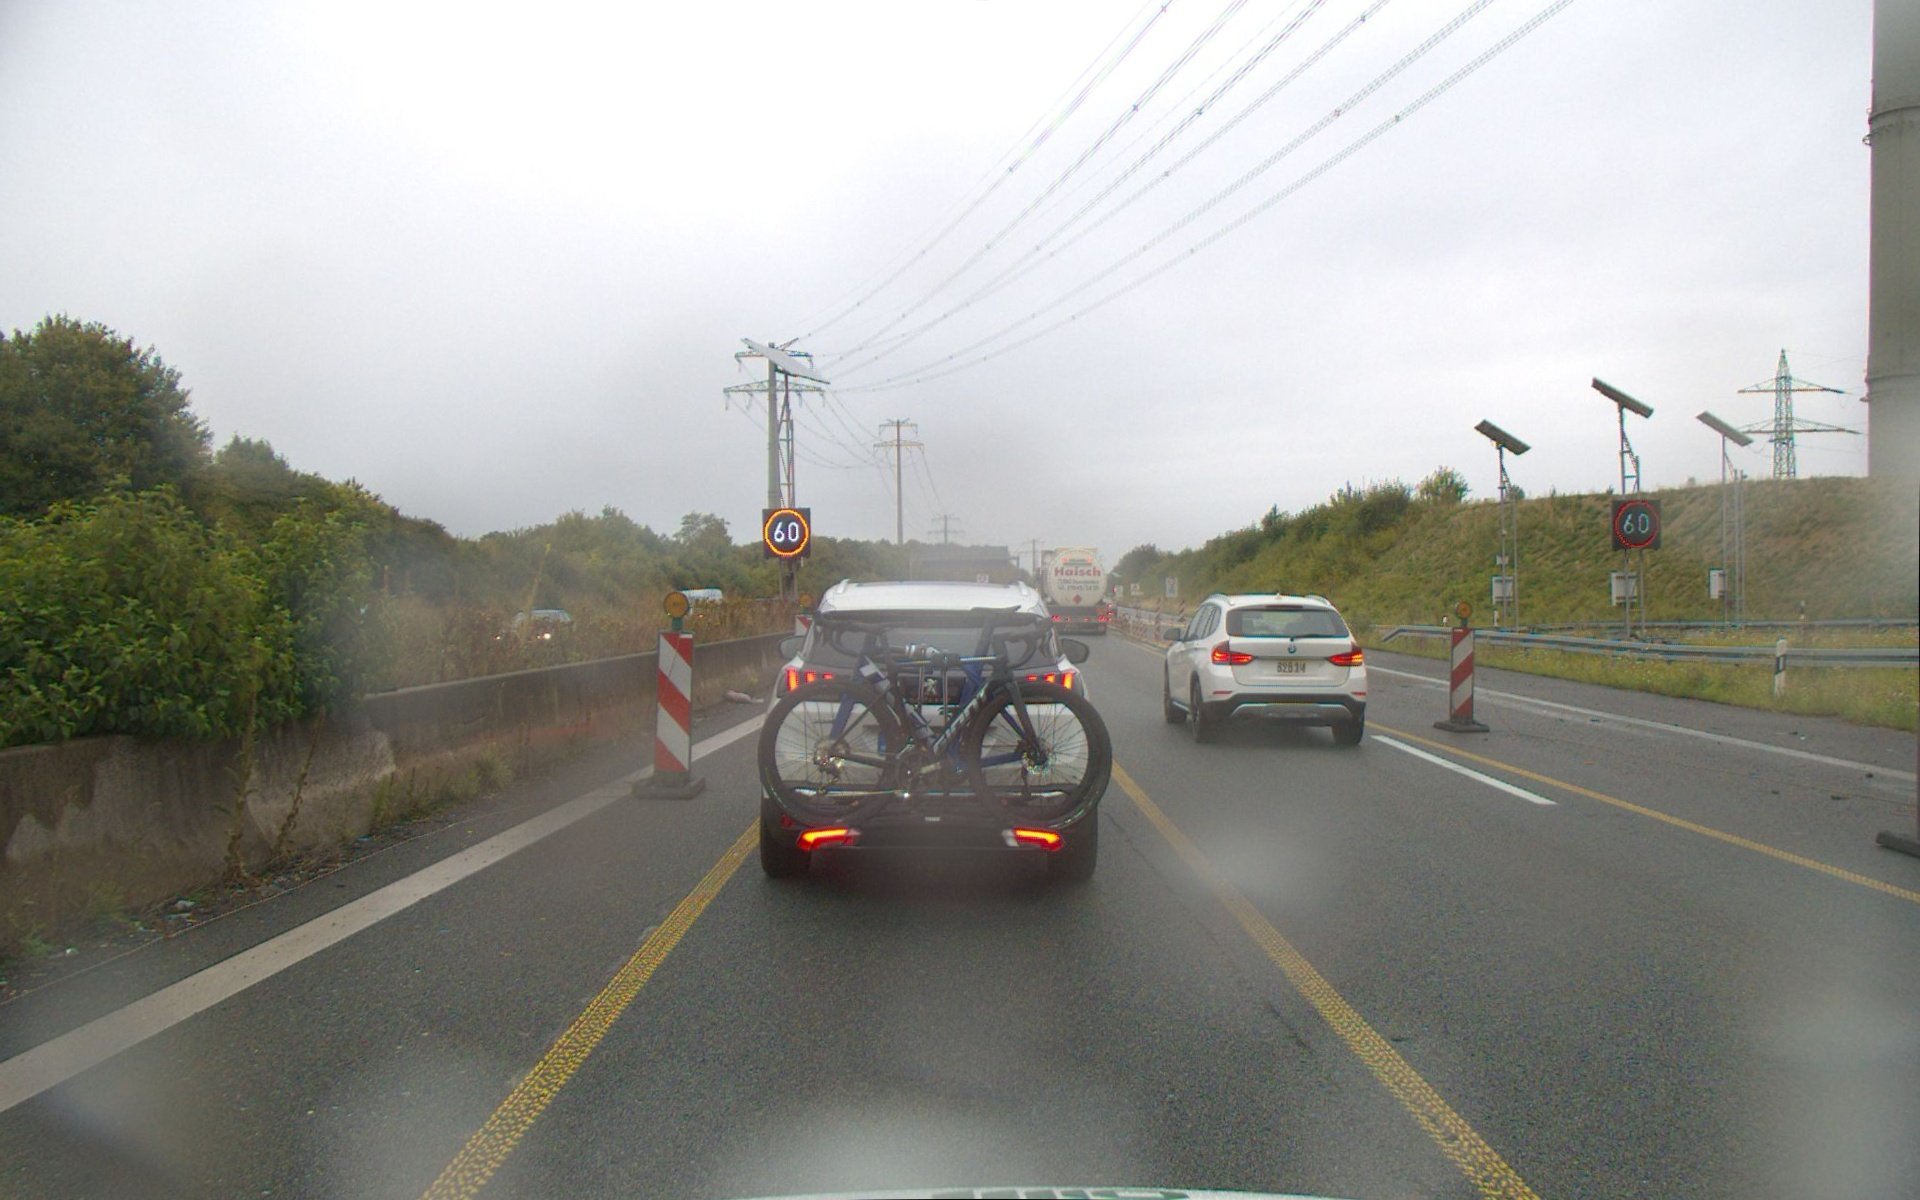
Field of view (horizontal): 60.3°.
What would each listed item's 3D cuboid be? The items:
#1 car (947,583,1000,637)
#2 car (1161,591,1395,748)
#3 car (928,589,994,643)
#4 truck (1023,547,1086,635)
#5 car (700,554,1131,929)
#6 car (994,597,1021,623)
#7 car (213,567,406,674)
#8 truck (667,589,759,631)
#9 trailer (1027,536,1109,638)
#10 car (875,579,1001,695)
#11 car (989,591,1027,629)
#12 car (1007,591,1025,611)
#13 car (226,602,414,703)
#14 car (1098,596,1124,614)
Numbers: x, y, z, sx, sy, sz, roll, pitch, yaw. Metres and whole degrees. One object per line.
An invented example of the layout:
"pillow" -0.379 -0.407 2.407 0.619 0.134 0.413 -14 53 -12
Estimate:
"car" 0.507 0.379 65.898 1.953 2.049 3.999 -1 0 -1
"car" 3.406 0.685 18.481 1.831 1.561 4.197 0 0 0
"car" 0.006 0.458 51.491 1.953 1.611 3.999 0 0 -1
"truck" 4.356 -0.394 76.676 2.591 3.959 4.029 1 -1 -1
"car" -0.137 0.616 9.592 1.888 1.639 4.596 0 0 1
"car" 3.813 0.827 132.915 1.953 2.049 3.999 1 -1 -1
"car" -11.935 0.370 30.641 1.953 1.833 4.000 1 -1 0
"truck" -15.592 0.611 104.779 1.959 2.470 6.413 -1 1 34
"trailer" 4.451 -0.451 70.083 2.584 3.961 10.541 1 -1 -1
"car" -0.320 0.566 28.097 1.952 1.791 4.000 -1 0 1
"car" 2.715 0.579 94.774 1.953 2.049 3.999 1 -1 -1
"car" 5.605 0.088 165.399 1.619 2.049 4.002 0 0 3
"car" -11.847 0.929 30.915 1.829 1.678 4.001 -1 0 2
"car" 10.859 0.338 119.050 1.452 1.181 3.906 -1 0 -1
